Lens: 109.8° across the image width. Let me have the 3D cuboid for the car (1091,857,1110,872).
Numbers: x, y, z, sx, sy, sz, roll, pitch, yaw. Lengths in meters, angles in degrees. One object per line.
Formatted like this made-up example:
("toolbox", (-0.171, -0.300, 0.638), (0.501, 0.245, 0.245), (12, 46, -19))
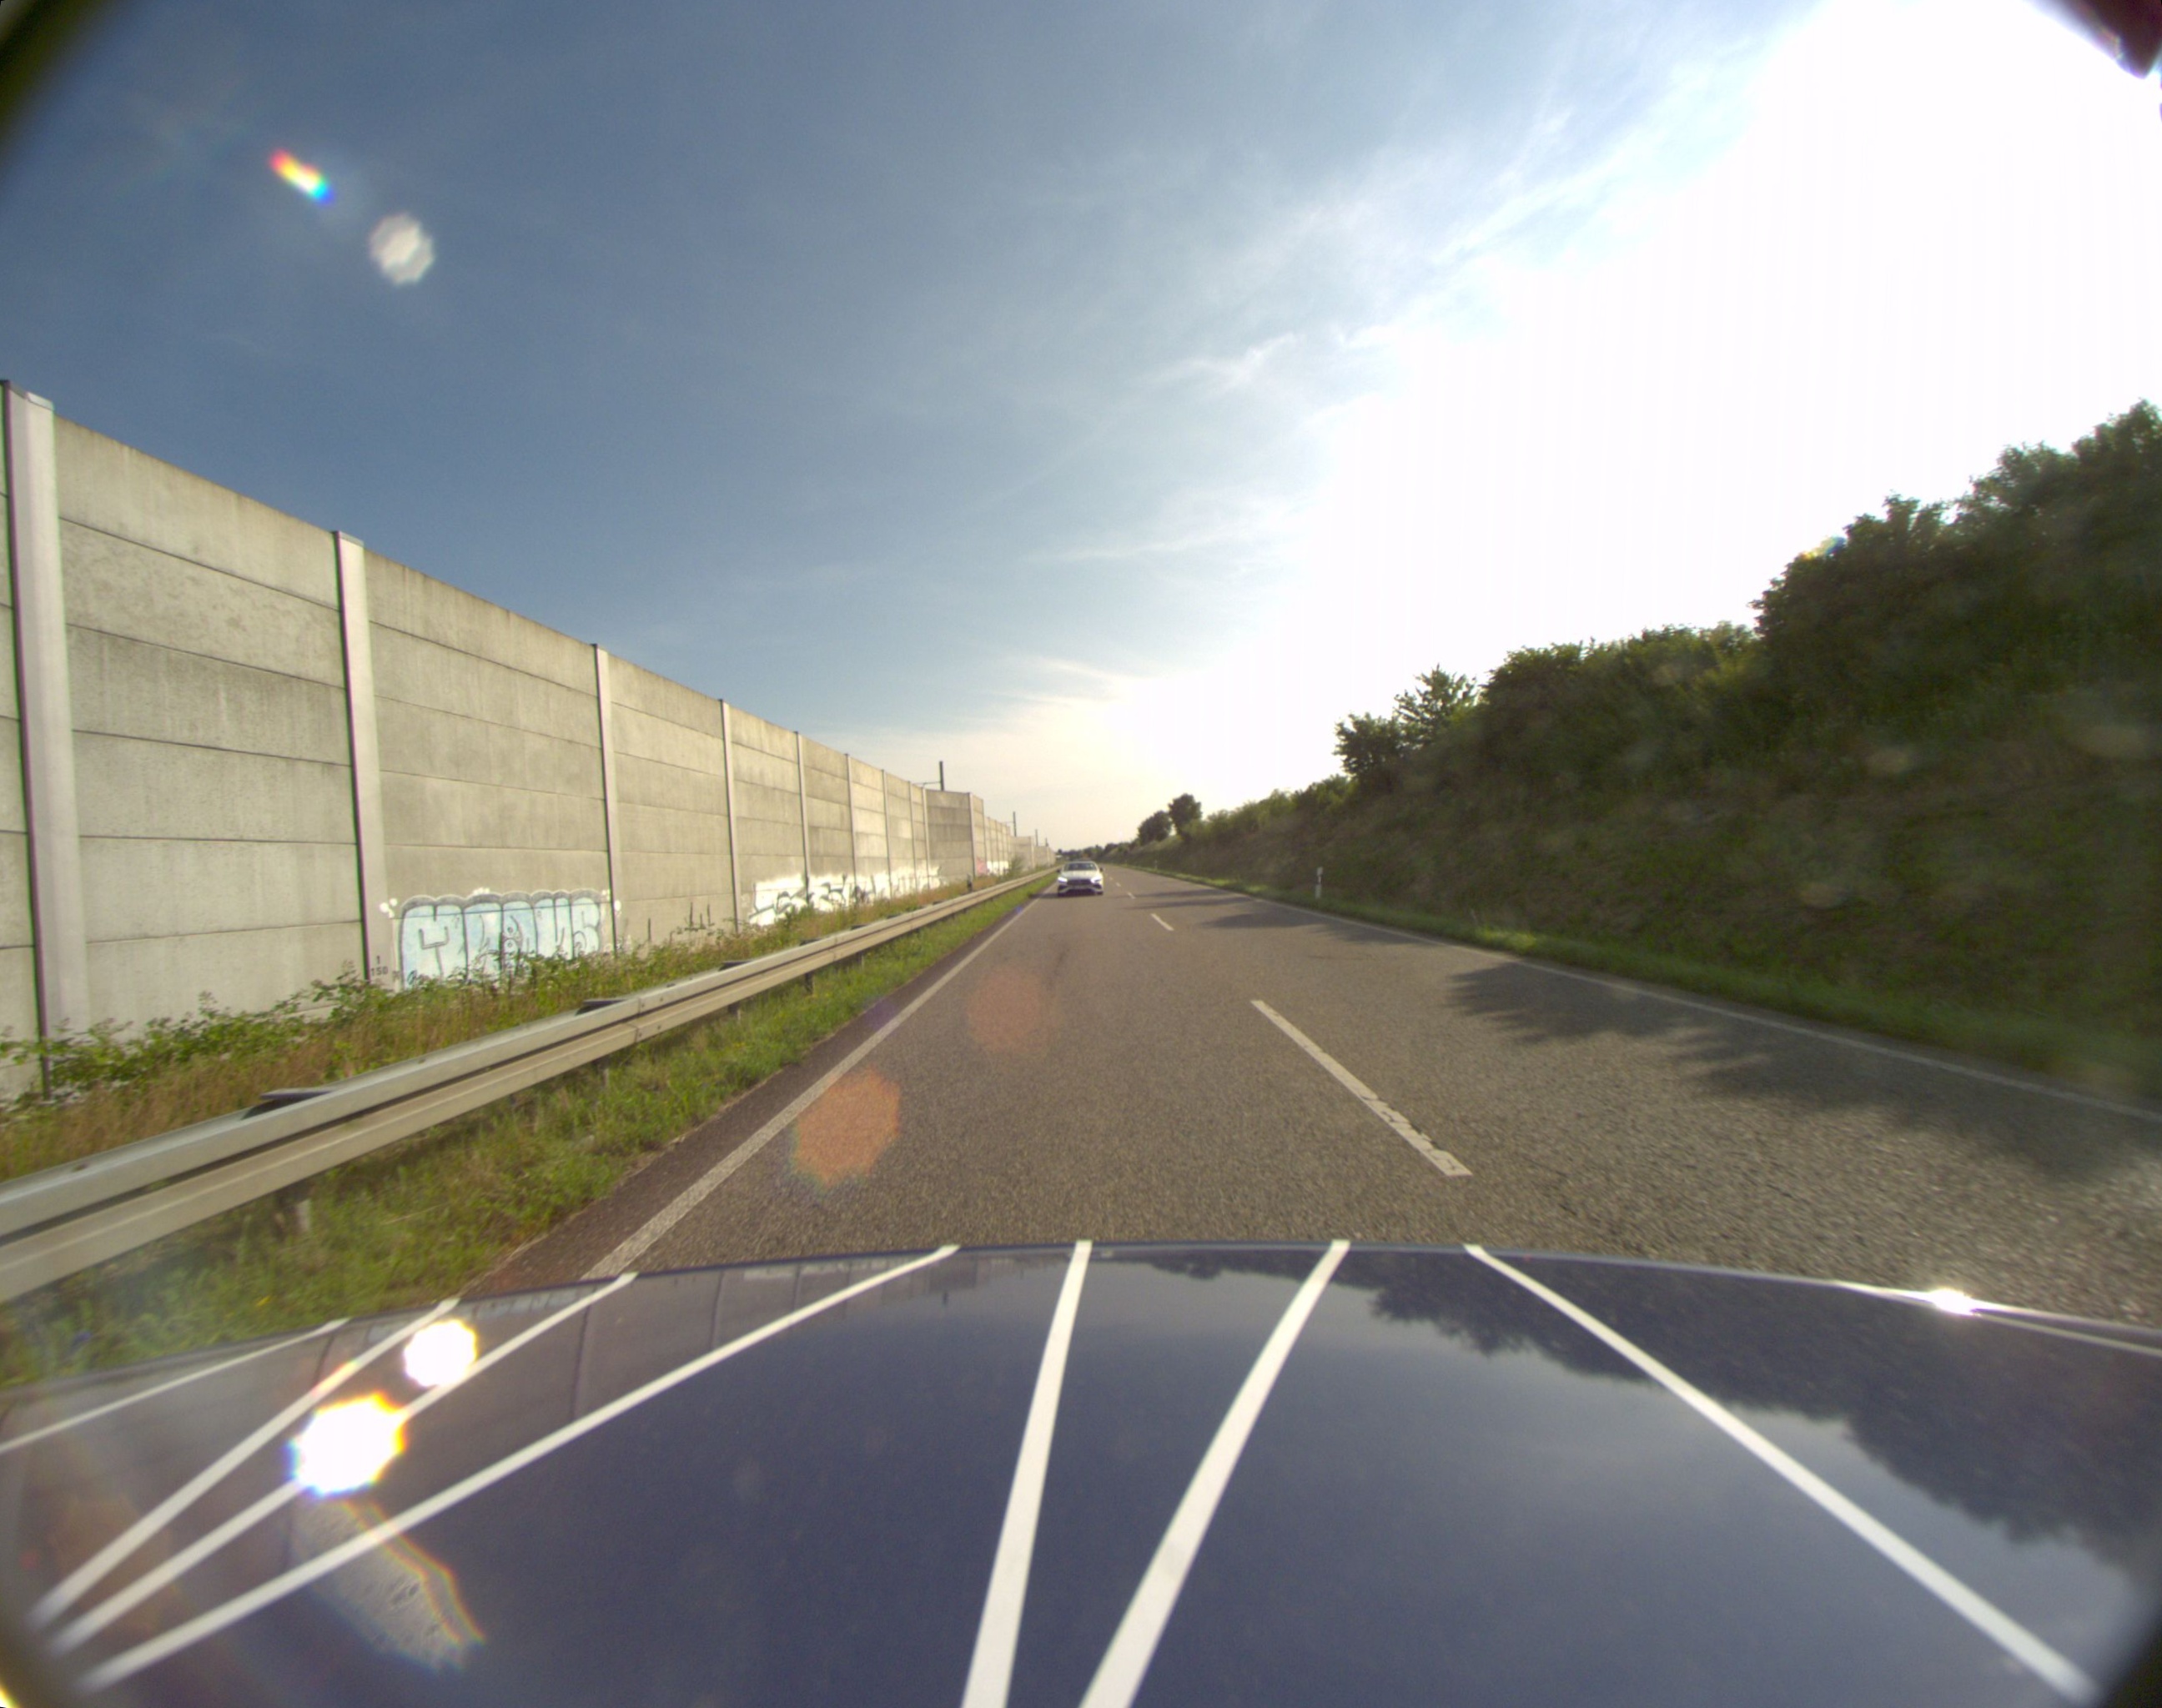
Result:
("car", (2.001, 1.067, 79.342), (1.930, 1.399, 4.974), (-1, 0, 0))

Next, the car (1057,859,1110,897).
("car", (0.006, 0.966, 32.398), (1.930, 1.398, 4.972), (-2, 0, -3))
